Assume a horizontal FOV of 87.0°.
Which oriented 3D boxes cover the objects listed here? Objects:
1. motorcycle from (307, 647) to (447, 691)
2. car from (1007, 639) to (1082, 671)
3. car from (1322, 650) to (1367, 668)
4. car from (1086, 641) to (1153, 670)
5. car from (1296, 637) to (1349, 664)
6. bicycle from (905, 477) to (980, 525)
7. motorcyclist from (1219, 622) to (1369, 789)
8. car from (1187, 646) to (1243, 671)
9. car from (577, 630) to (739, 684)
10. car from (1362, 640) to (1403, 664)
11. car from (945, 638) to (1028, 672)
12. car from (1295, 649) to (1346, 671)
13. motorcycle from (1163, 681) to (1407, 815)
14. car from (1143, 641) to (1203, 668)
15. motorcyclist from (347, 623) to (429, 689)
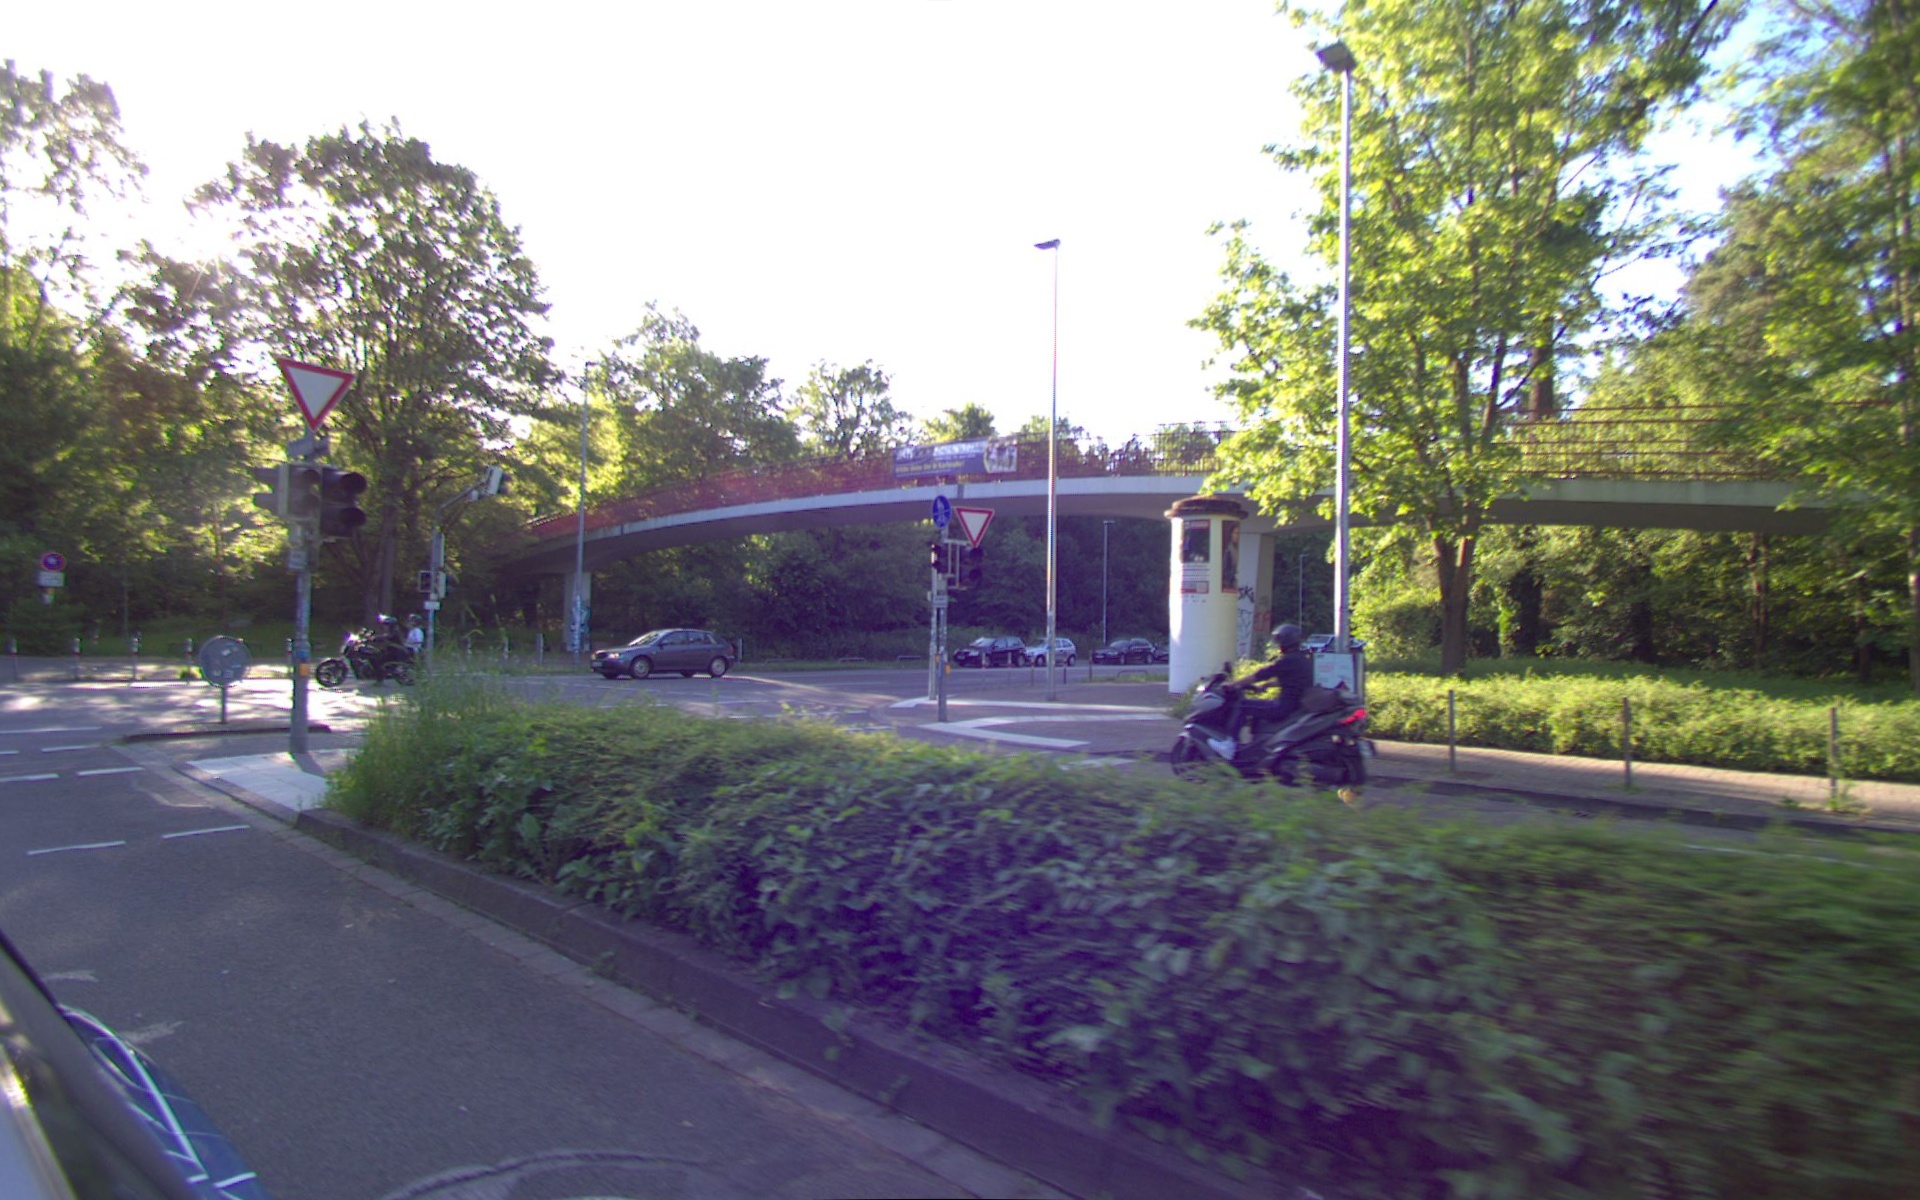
[{"bbox_3d":[-13.196,1.544,22.960,2.667,0.920,0.810,2,-4,-35],"label":"motorcycle"},{"bbox_3d":[4.326,2.807,51.420,1.722,1.519,3.920,0,-3,42],"label":"car"},{"bbox_3d":[27.440,4.203,72.218,1.737,1.254,3.944,-1,-3,42],"label":"car"},{"bbox_3d":[8.903,3.074,56.407,1.738,1.519,4.095,0,-3,42],"label":"car"},{"bbox_3d":[27.699,3.852,77.246,2.018,1.991,4.970,0,-3,42],"label":"car"},{"bbox_3d":[-0.600,-3.230,33.431,1.036,1.383,2.450,3,0,-45],"label":"bicycle"},{"bbox_3d":[3.212,0.969,9.751,0.937,1.482,1.070,3,-3,-44],"label":"motorcyclist"},{"bbox_3d":[16.335,3.734,64.692,1.738,1.519,4.167,0,-3,42],"label":"car"},{"bbox_3d":[-8.418,1.601,28.415,1.869,1.400,3.942,-4,-5,44],"label":"car"},{"bbox_3d":[36.096,4.425,86.406,1.953,1.991,4.334,0,-3,42],"label":"car"},{"bbox_3d":[1.281,2.591,47.953,1.695,1.519,4.068,-1,-3,42],"label":"car"},{"bbox_3d":[21.317,3.543,59.764,1.466,1.254,3.944,-1,-3,42],"label":"car"},{"bbox_3d":[3.101,1.381,9.883,0.517,1.077,2.289,3,-3,-45],"label":"motorcycle"},{"bbox_3d":[12.765,3.242,60.469,1.705,1.519,4.079,0,-3,42],"label":"car"},{"bbox_3d":[-13.035,1.245,23.061,1.540,1.438,1.142,0,-2,-34],"label":"motorcyclist"}]
